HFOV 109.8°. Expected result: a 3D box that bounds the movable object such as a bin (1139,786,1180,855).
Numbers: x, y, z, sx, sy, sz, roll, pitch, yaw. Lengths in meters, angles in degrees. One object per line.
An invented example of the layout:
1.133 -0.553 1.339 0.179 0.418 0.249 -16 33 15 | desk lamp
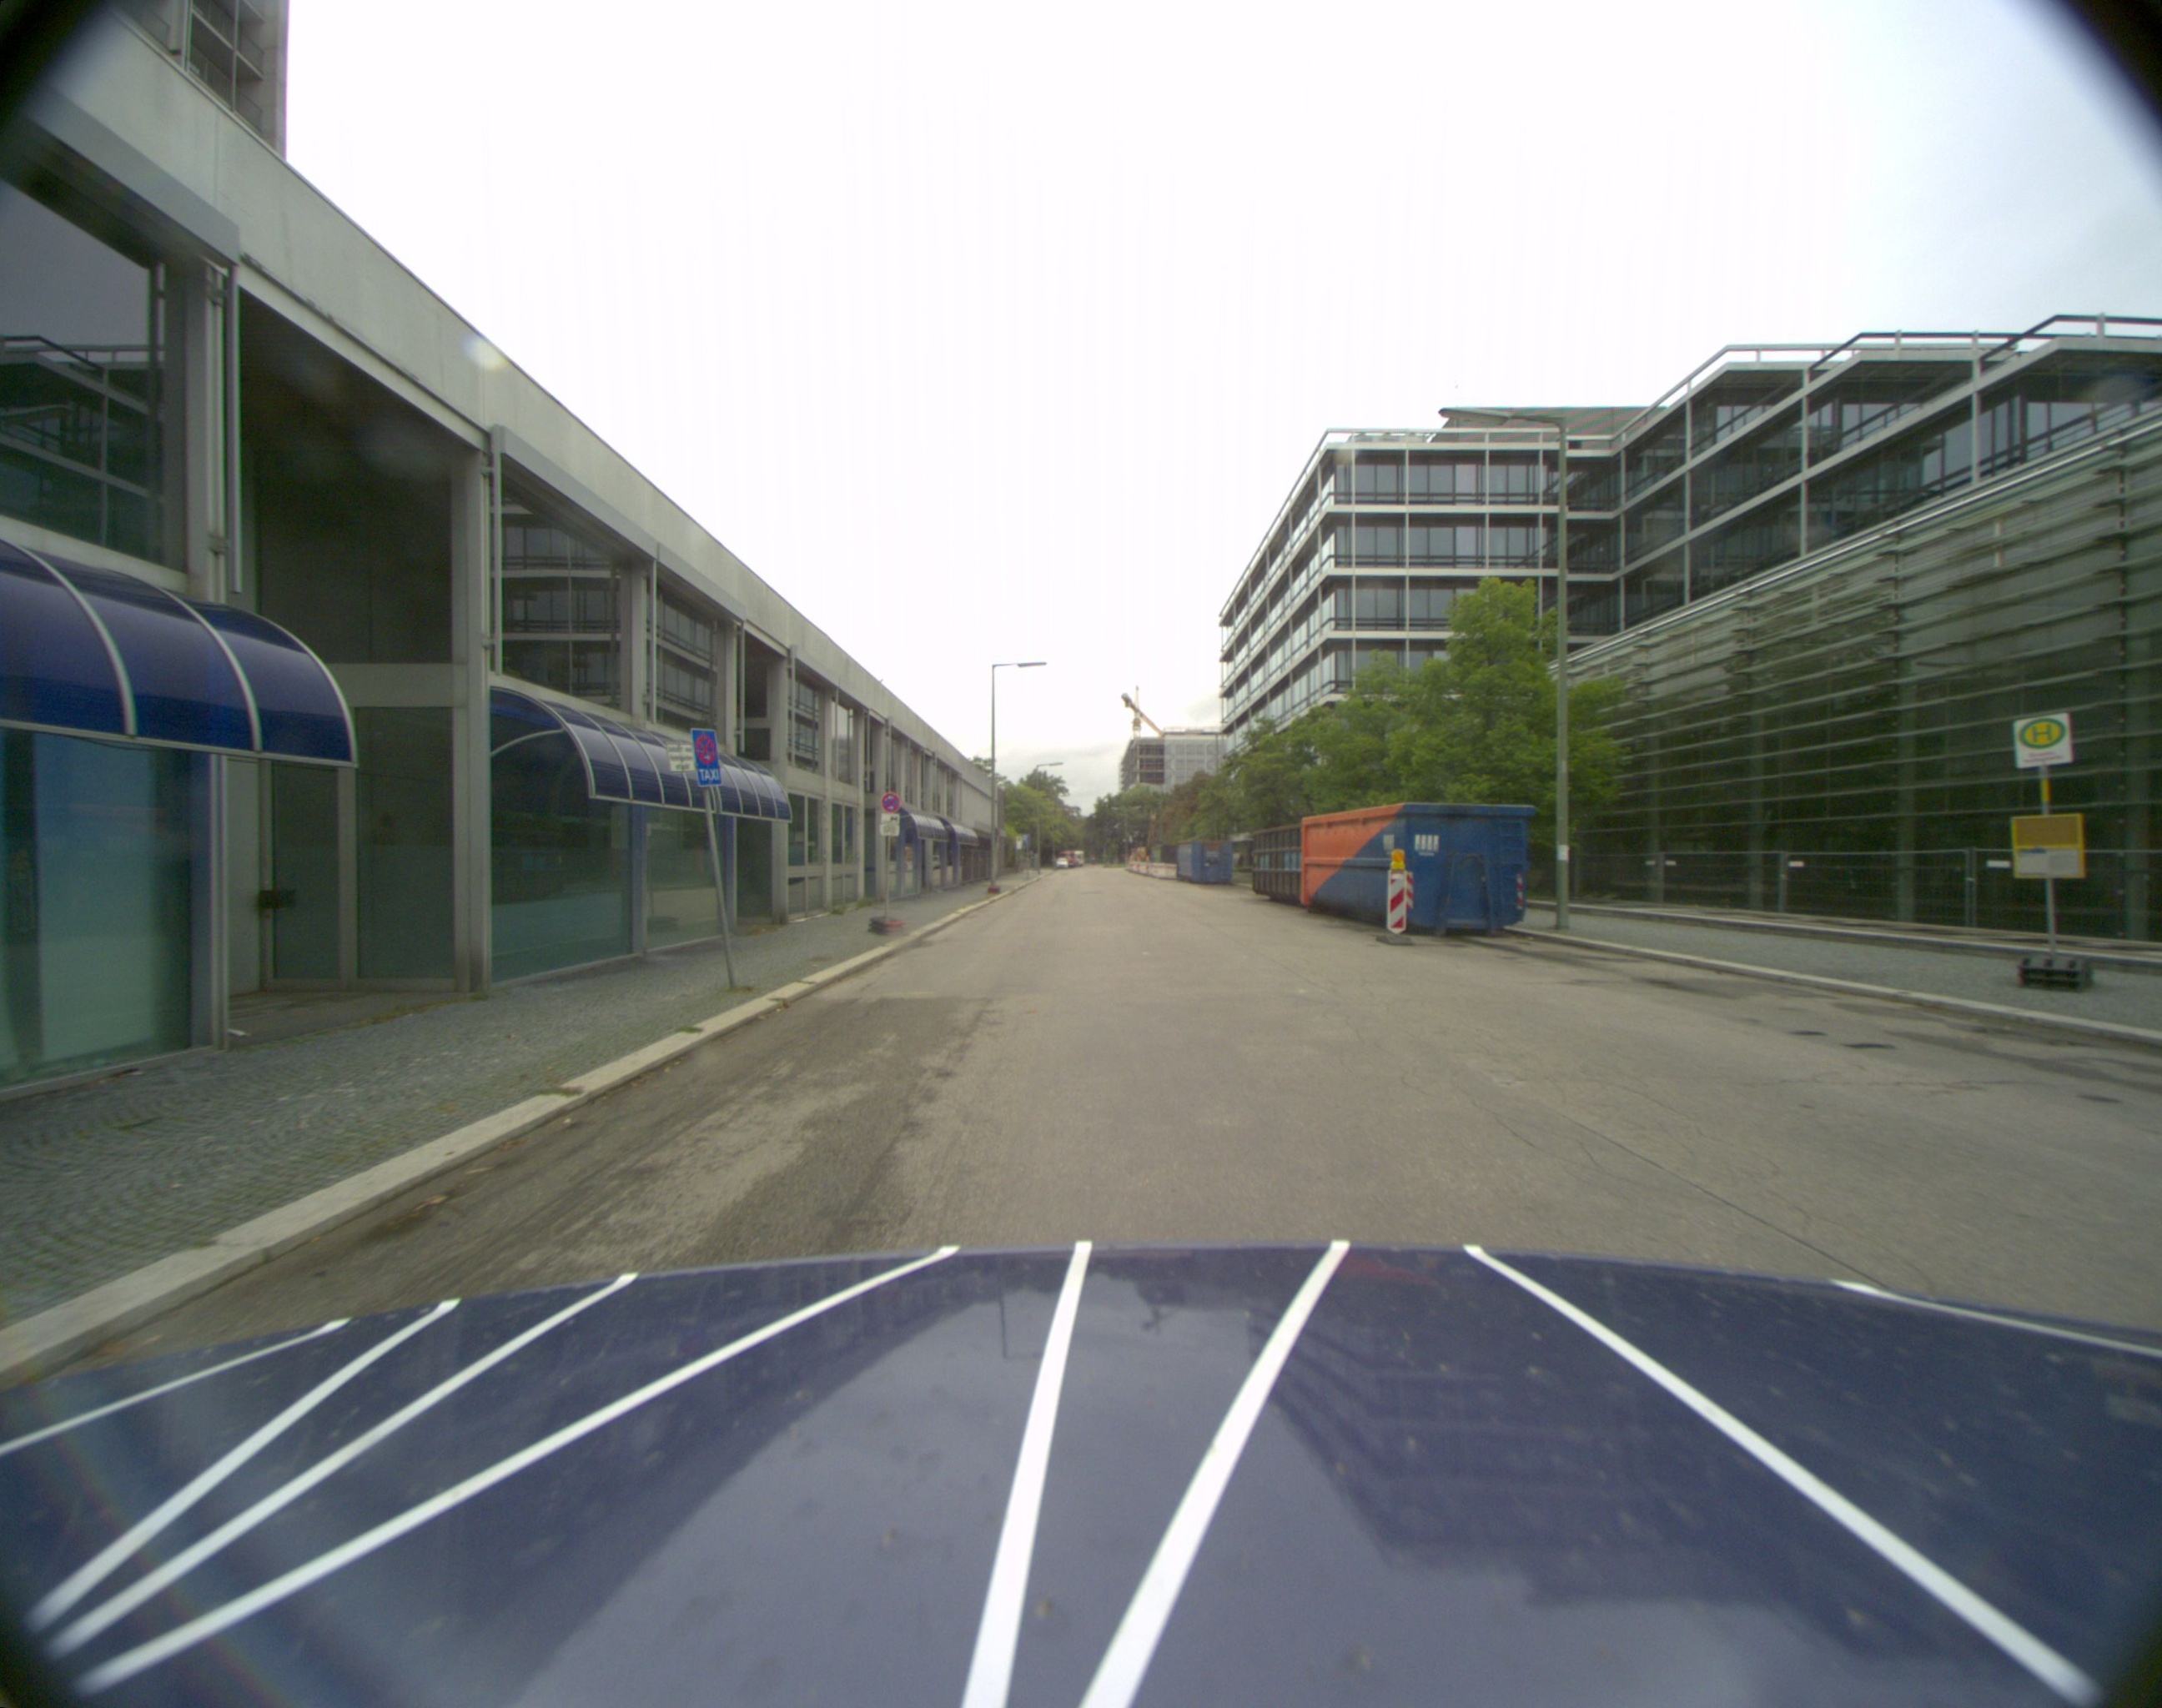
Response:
7.897 -3.166 77.772 2.912 6.526 11.782 0 1 0 | movable object such as a bin

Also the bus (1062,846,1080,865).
-1.534 0.217 113.905 2.077 2.789 6.274 0 0 5 | bus

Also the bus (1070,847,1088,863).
-0.338 0.148 127.804 2.076 2.714 5.871 0 0 9 | bus

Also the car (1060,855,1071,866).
-2.151 0.925 106.615 1.536 1.483 4.059 0 1 -2 | car
